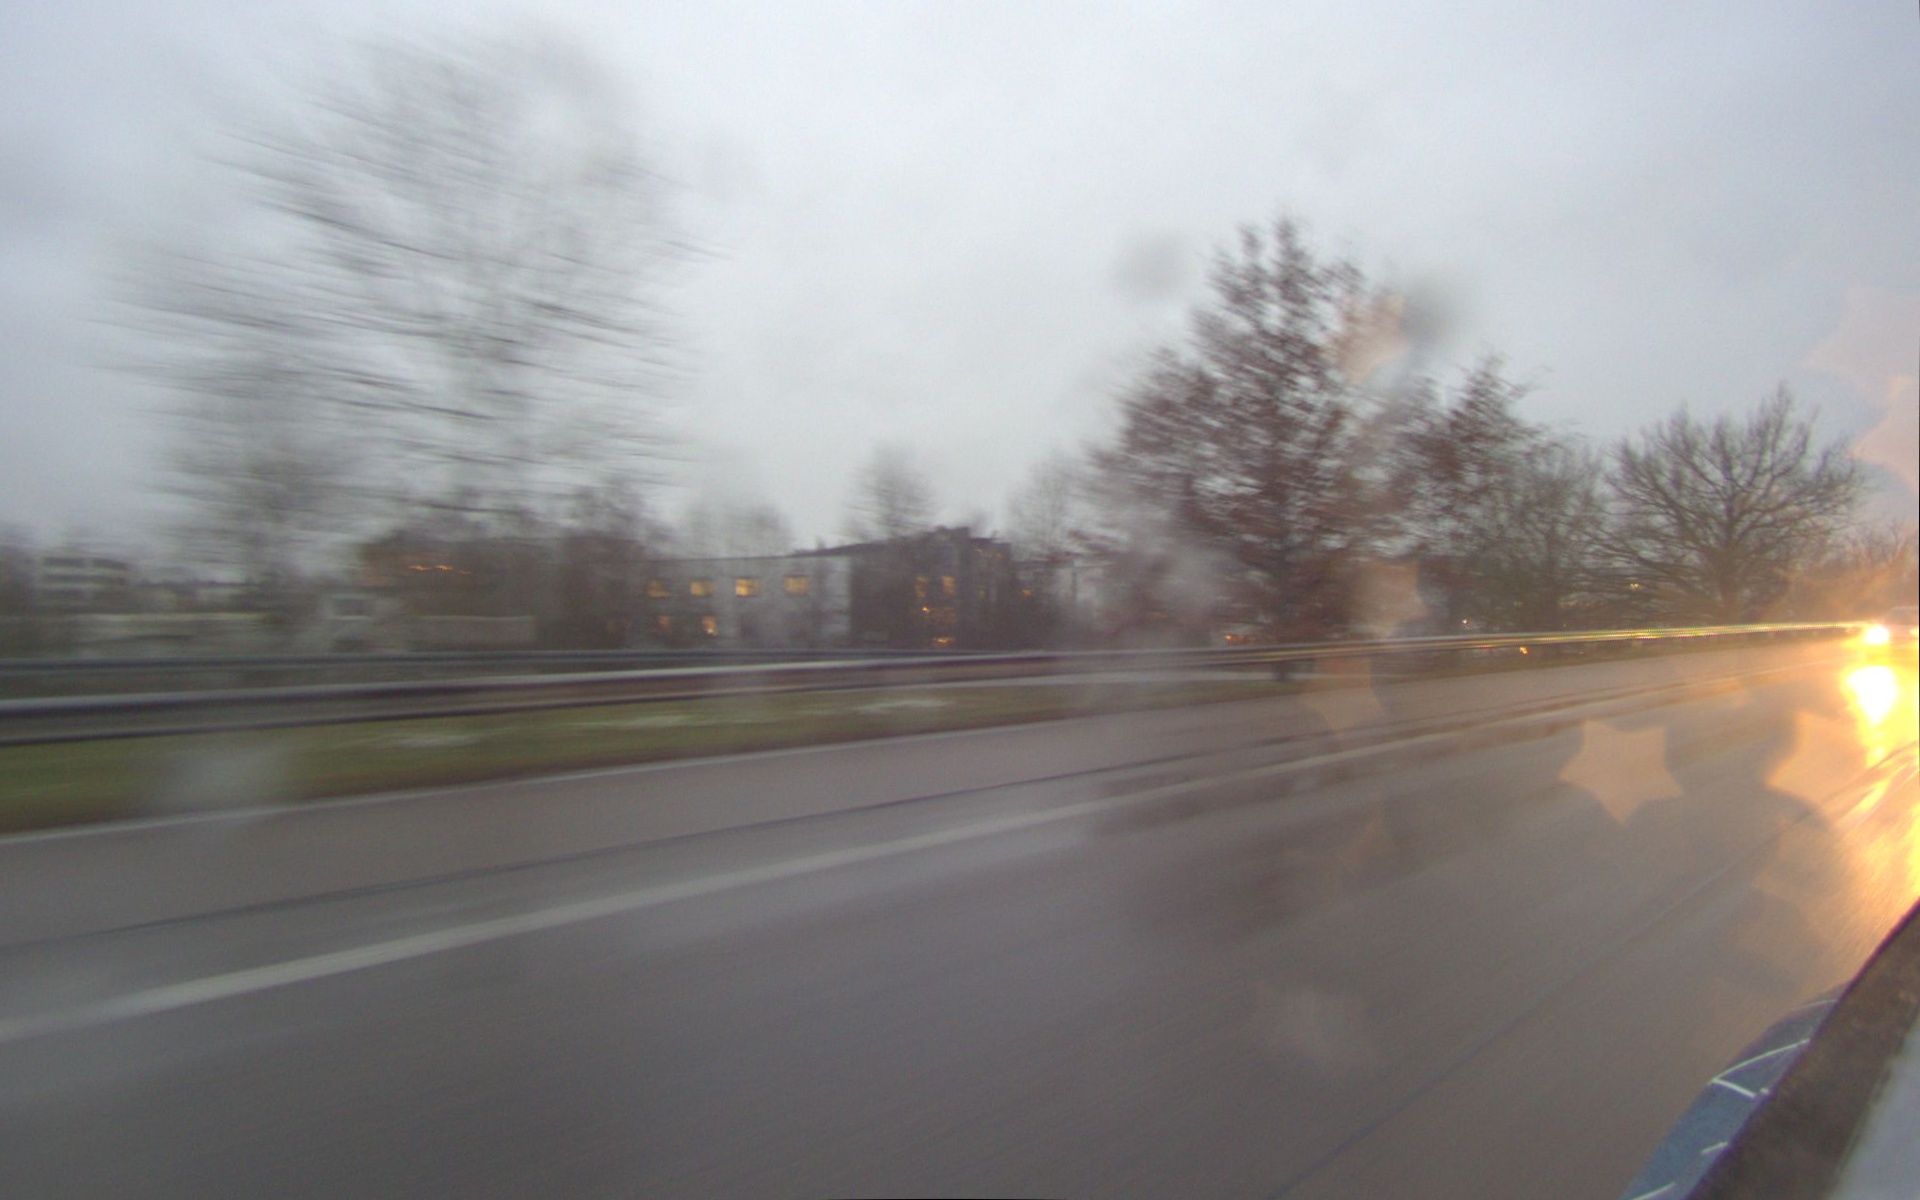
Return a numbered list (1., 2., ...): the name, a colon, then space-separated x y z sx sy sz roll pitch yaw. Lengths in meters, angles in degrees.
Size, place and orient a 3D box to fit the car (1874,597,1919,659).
1. car: 25.704 0.723 26.647 4.074 1.549 1.850 1 0 -39
